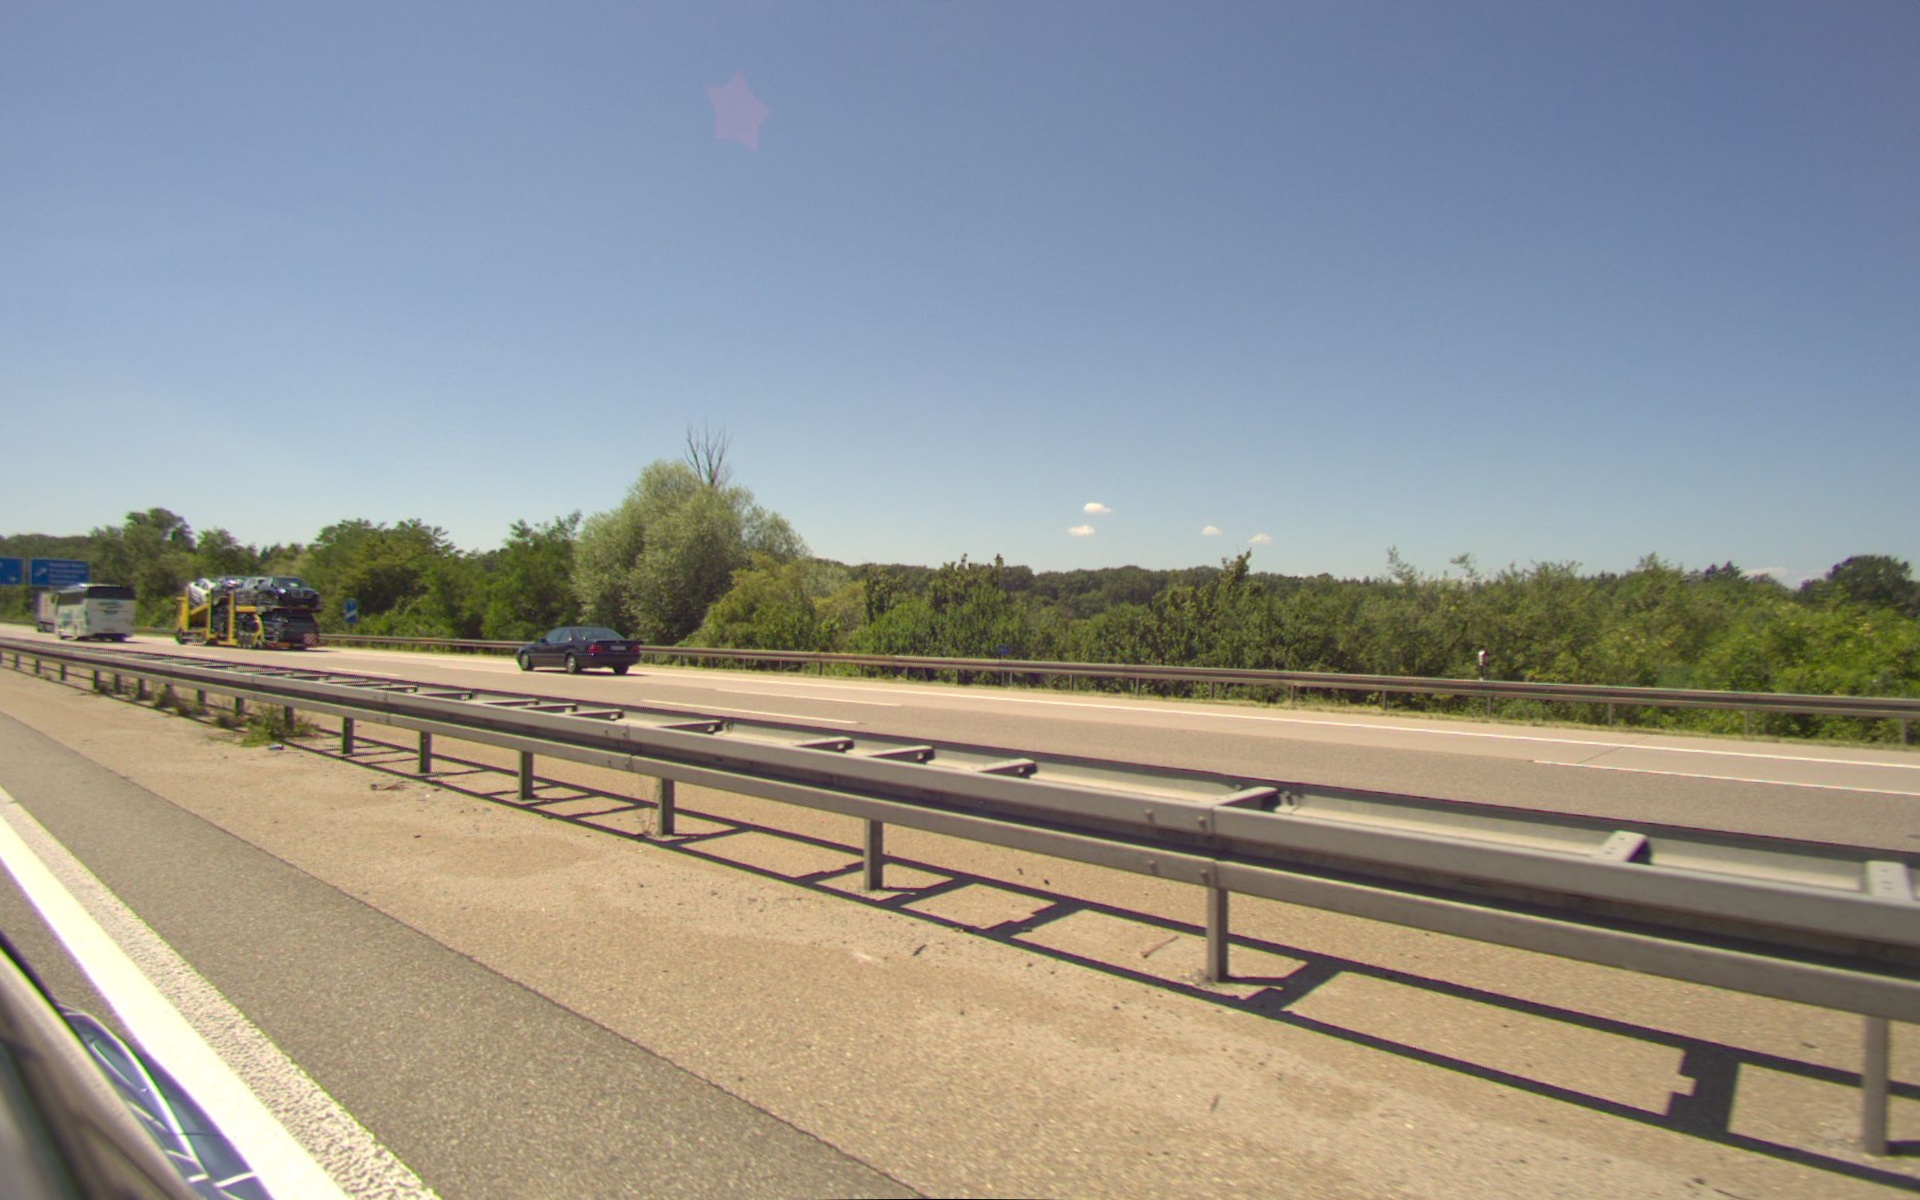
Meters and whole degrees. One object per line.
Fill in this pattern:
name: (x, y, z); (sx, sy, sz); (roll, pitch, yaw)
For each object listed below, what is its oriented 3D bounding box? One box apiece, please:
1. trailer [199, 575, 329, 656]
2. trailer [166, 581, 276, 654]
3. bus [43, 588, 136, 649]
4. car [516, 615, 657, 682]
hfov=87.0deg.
trailer: (-37.986, 0.908, 54.981); (11.644, 3.998, 2.891); (-1, -4, 41)
trailer: (-44.258, 1.087, 60.456); (10.530, 3.998, 2.891); (-1, -4, 41)
bus: (-56.887, 1.233, 65.979); (12.786, 3.611, 2.666); (-1, -4, 41)
car: (-11.519, 1.457, 31.102); (4.577, 1.886, 1.973); (-1, -5, 40)
